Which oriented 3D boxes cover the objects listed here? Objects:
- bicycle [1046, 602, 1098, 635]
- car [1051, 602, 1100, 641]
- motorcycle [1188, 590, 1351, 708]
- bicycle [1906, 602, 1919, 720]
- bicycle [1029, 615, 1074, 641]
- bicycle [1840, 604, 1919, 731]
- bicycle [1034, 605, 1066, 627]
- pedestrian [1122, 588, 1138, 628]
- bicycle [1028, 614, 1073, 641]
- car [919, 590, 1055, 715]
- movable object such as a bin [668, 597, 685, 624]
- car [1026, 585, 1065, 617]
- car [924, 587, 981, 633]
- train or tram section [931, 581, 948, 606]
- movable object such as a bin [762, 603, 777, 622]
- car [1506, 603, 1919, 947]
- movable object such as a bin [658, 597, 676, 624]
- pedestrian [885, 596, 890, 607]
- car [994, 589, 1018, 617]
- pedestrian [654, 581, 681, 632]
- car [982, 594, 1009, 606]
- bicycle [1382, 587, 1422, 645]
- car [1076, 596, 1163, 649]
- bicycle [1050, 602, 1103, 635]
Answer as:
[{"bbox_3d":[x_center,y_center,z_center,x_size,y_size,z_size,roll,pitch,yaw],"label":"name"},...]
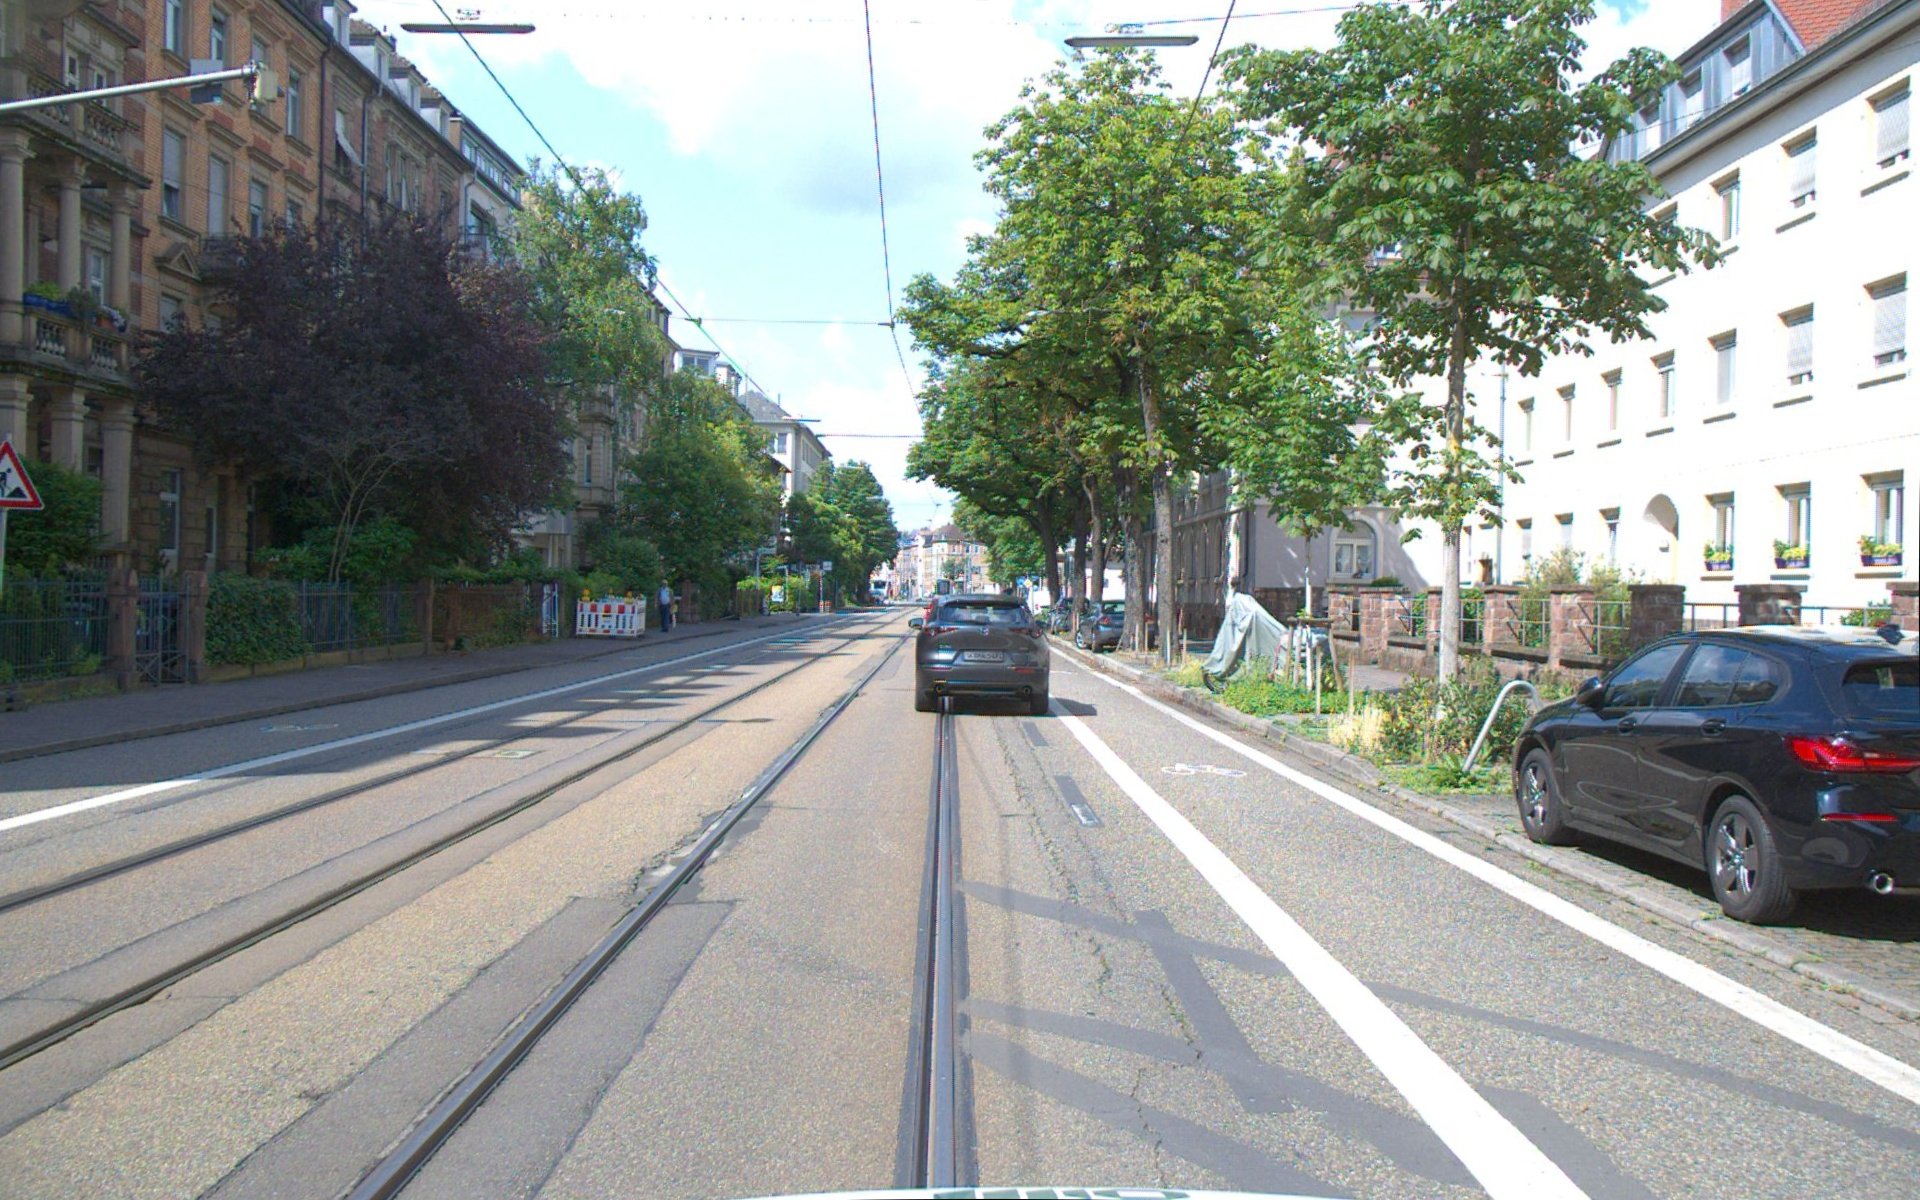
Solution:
[{"bbox_3d":[4.126,0.678,61.013,1.853,1.196,0.513,0,-1,11],"label":"bicycle"},{"bbox_3d":[4.542,0.813,65.393,1.632,1.455,3.765,-1,0,0],"label":"car"},{"bbox_3d":[4.675,0.717,25.075,2.342,1.625,0.675,3,1,38],"label":"motorcycle"},{"bbox_3d":[10.366,0.650,16.754,0.587,1.233,1.704,1,0,0],"label":"bicycle"},{"bbox_3d":[3.849,1.182,69.918,1.864,1.091,0.402,1,0,-1],"label":"bicycle"},{"bbox_3d":[9.672,0.663,16.768,0.587,1.233,1.704,1,0,0],"label":"bicycle"},{"bbox_3d":[4.063,0.724,74.804,1.460,1.000,0.259,0,-1,1],"label":"bicycle"},{"bbox_3d":[7.970,0.367,77.512,0.598,1.868,0.878,0,-2,-3],"label":"pedestrian"},{"bbox_3d":[3.856,1.167,70.416,1.864,1.091,0.402,1,0,-1],"label":"bicycle"},{"bbox_3d":[0.317,0.659,22.620,1.685,1.553,3.589,1,0,-1],"label":"car"},{"bbox_3d":[-11.774,0.427,68.667,0.526,1.113,0.790,1,0,4],"label":"movable object such as a bin"},{"bbox_3d":[5.516,0.043,107.020,1.753,1.972,4.984,1,0,-7],"label":"car"},{"bbox_3d":[-0.287,0.366,61.117,1.953,1.555,3.999,3,0,-1],"label":"car"},{"bbox_3d":[-3.196,-0.997,256.113,2.519,3.838,13.023,1,0,-1],"label":"train or tram section"},{"bbox_3d":[-10.985,0.721,95.319,0.730,1.005,1.114,3,0,-1],"label":"movable object such as a bin"},{"bbox_3d":[4.719,0.821,9.506,1.671,1.504,4.196,3,0,-1],"label":"car"},{"bbox_3d":[-12.207,0.437,68.912,0.537,1.127,0.790,1,0,4],"label":"movable object such as a bin"},{"bbox_3d":[-10.368,0.230,237.252,0.736,1.537,0.823,1,0,-5],"label":"pedestrian"},{"bbox_3d":[3.411,0.216,123.616,1.685,2.003,4.207,1,0,0],"label":"car"},{"bbox_3d":[-10.040,0.228,56.802,0.806,1.736,0.891,1,0,-4],"label":"pedestrian"},{"bbox_3d":[5.375,-0.005,248.998,3.748,1.646,1.629,3,0,-19],"label":"car"},{"bbox_3d":[9.561,0.331,35.849,0.403,1.233,1.704,1,0,0],"label":"bicycle"},{"bbox_3d":[4.535,0.622,47.614,1.809,1.434,4.391,-1,0,-4],"label":"car"},{"bbox_3d":[4.258,0.685,60.431,1.895,1.196,0.513,0,-1,11],"label":"bicycle"}]
